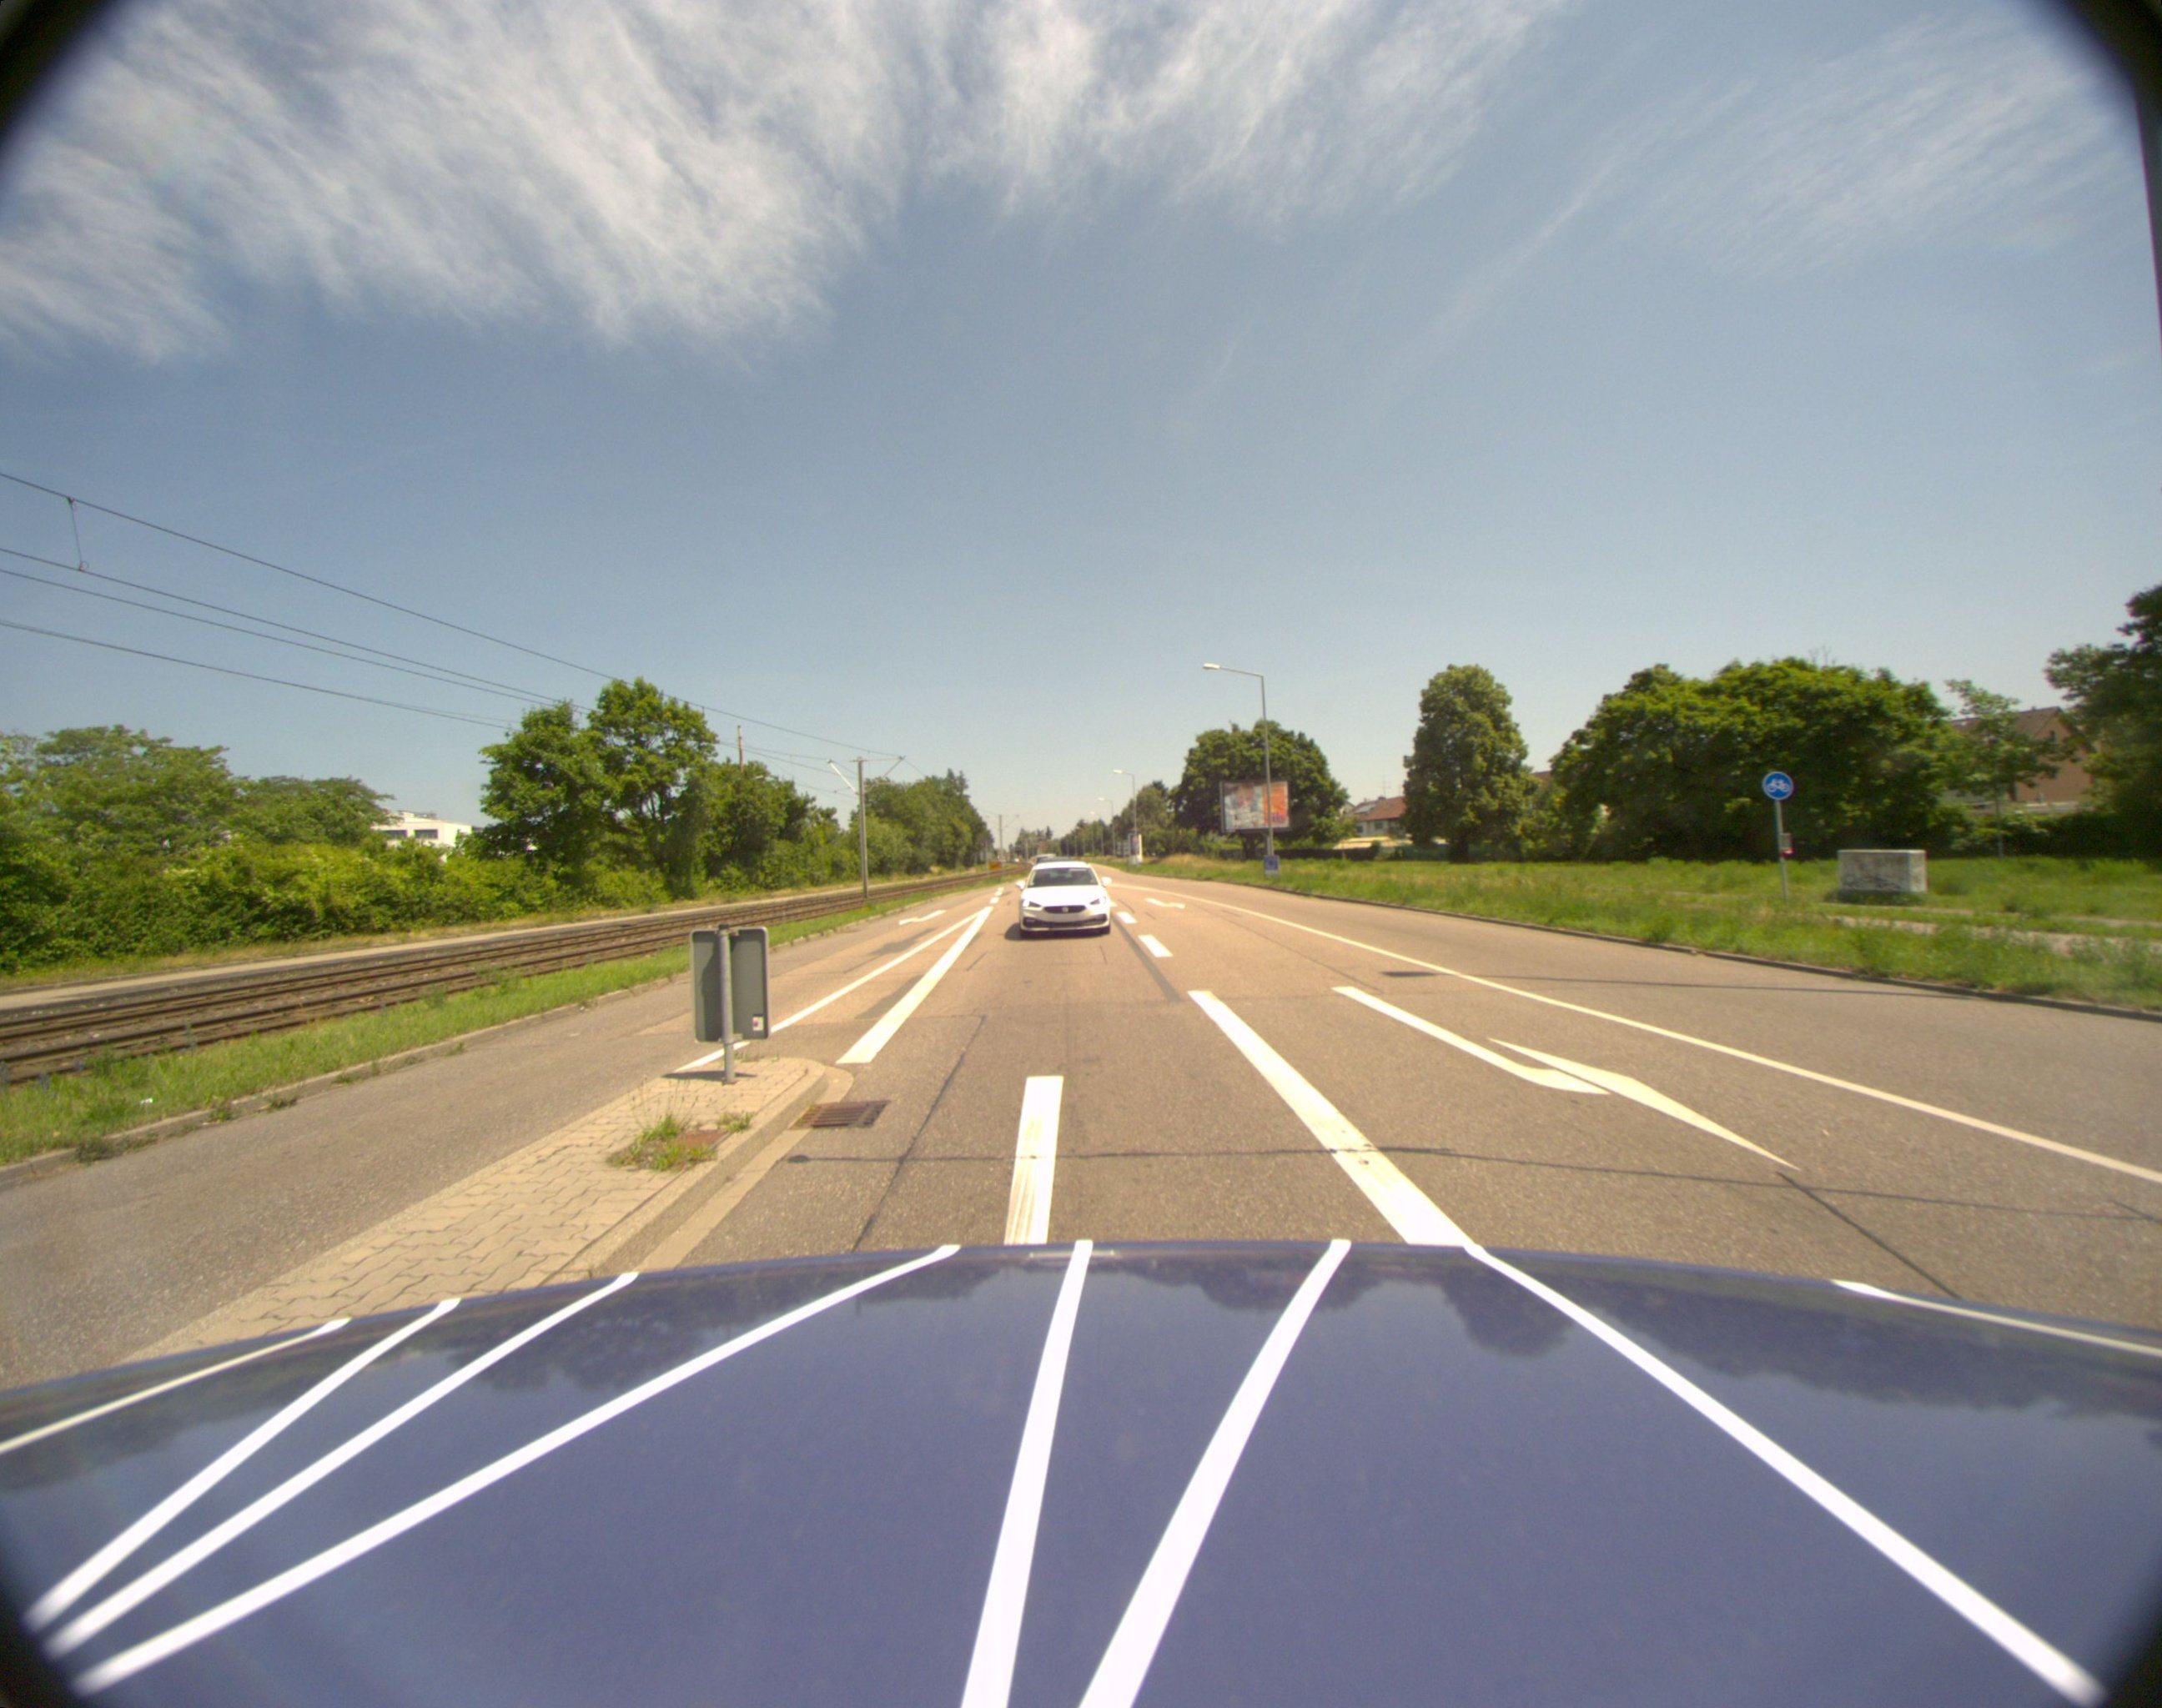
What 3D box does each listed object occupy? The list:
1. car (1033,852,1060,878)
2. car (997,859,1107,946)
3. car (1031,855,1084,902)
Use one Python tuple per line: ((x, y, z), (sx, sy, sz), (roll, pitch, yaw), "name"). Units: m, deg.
((-2.573, 0.792, 57.717), (1.780, 1.865, 4.000), (-2, 0, 1), "car")
((-0.468, 0.920, 16.193), (1.954, 1.467, 4.362), (-3, 0, 2), "car")
((-0.840, 0.882, 29.210), (1.780, 1.628, 4.000), (-2, 0, 1), "car")
